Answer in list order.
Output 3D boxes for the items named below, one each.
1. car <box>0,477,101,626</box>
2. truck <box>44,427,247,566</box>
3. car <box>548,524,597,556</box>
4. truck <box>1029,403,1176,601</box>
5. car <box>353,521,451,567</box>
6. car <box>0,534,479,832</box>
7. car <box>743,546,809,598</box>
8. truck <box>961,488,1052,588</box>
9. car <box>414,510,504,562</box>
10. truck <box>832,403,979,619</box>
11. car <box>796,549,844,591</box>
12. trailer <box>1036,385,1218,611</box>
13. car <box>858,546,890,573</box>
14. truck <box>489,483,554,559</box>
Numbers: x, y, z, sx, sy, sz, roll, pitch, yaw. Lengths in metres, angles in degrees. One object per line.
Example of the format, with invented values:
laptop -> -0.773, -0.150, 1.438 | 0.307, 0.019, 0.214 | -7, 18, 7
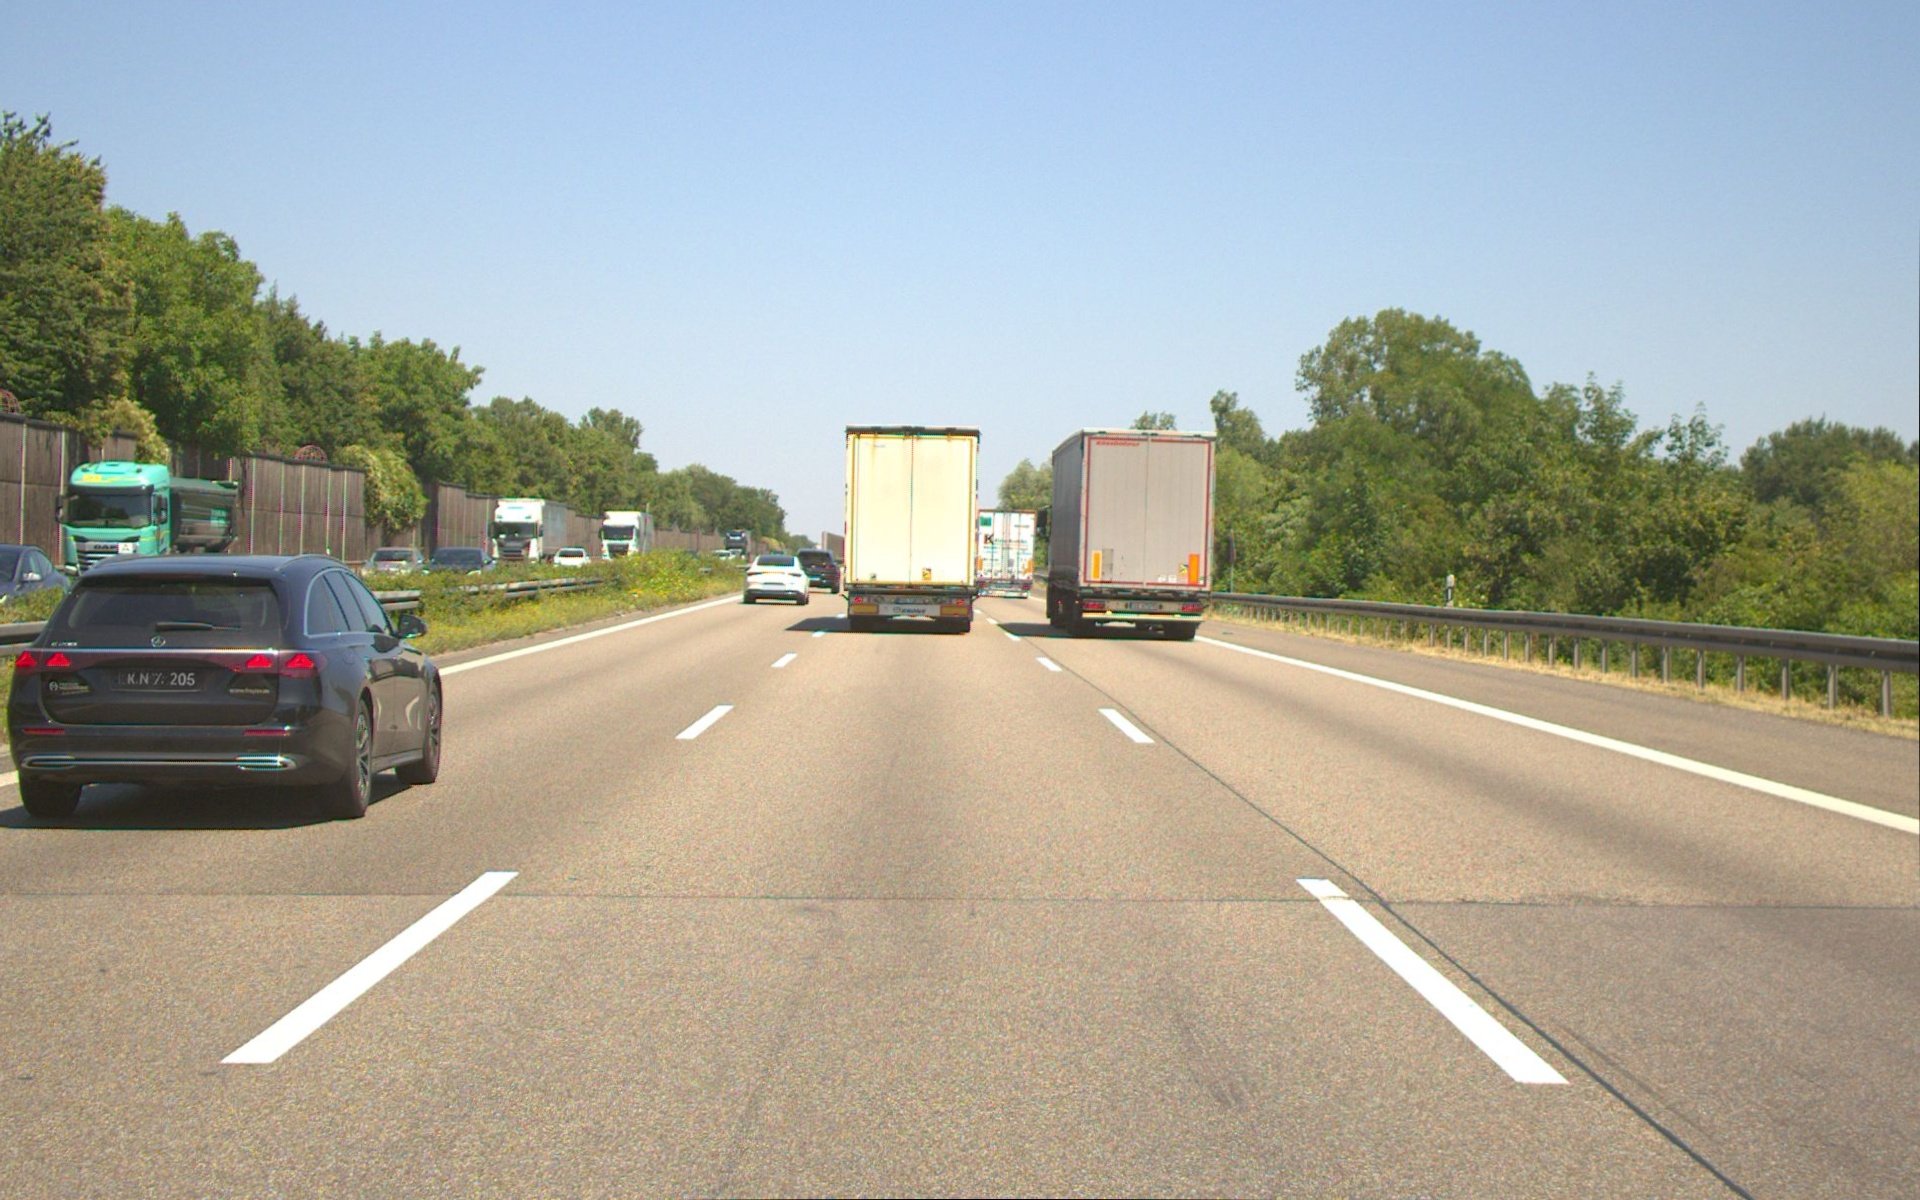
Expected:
car -> -13.470, -0.737, 47.752 | 1.993, 1.941, 4.000 | 4, 1, -1
truck -> -23.006, -2.875, 97.822 | 3.089, 3.662, 12.370 | 1, 1, -1
car -> -19.467, -3.030, 172.770 | 1.993, 1.585, 4.493 | 1, 1, -1
truck -> 3.155, -2.193, 78.083 | 2.691, 4.201, 7.839 | 2, 1, -1
car -> -18.129, -1.842, 111.911 | 1.865, 1.436, 5.084 | 1, 1, 6
car -> -4.297, 0.377, 20.790 | 1.943, 1.501, 5.821 | 1, 1, 0
car -> -5.465, -0.847, 102.416 | 1.855, 1.481, 4.001 | 1, 1, -2
truck -> 2.106, -2.920, 160.416 | 3.374, 4.289, 11.451 | 4, 1, -2
car -> -14.353, -1.837, 98.662 | 1.957, 1.441, 4.459 | 1, 1, -1
truck -> -1.218, -1.833, 72.725 | 2.707, 4.071, 13.475 | 2, 1, -1
car -> -5.579, -1.204, 136.294 | 1.855, 1.611, 4.001 | 1, 1, -3
trailer -> 3.311, -2.058, 71.658 | 2.703, 4.201, 13.213 | 2, 1, -1
car -> -5.294, -2.483, 211.059 | 1.855, 1.611, 4.001 | 1, 1, -3
truck -> -23.848, -4.281, 187.196 | 2.757, 4.008, 6.735 | 2, 1, -1
